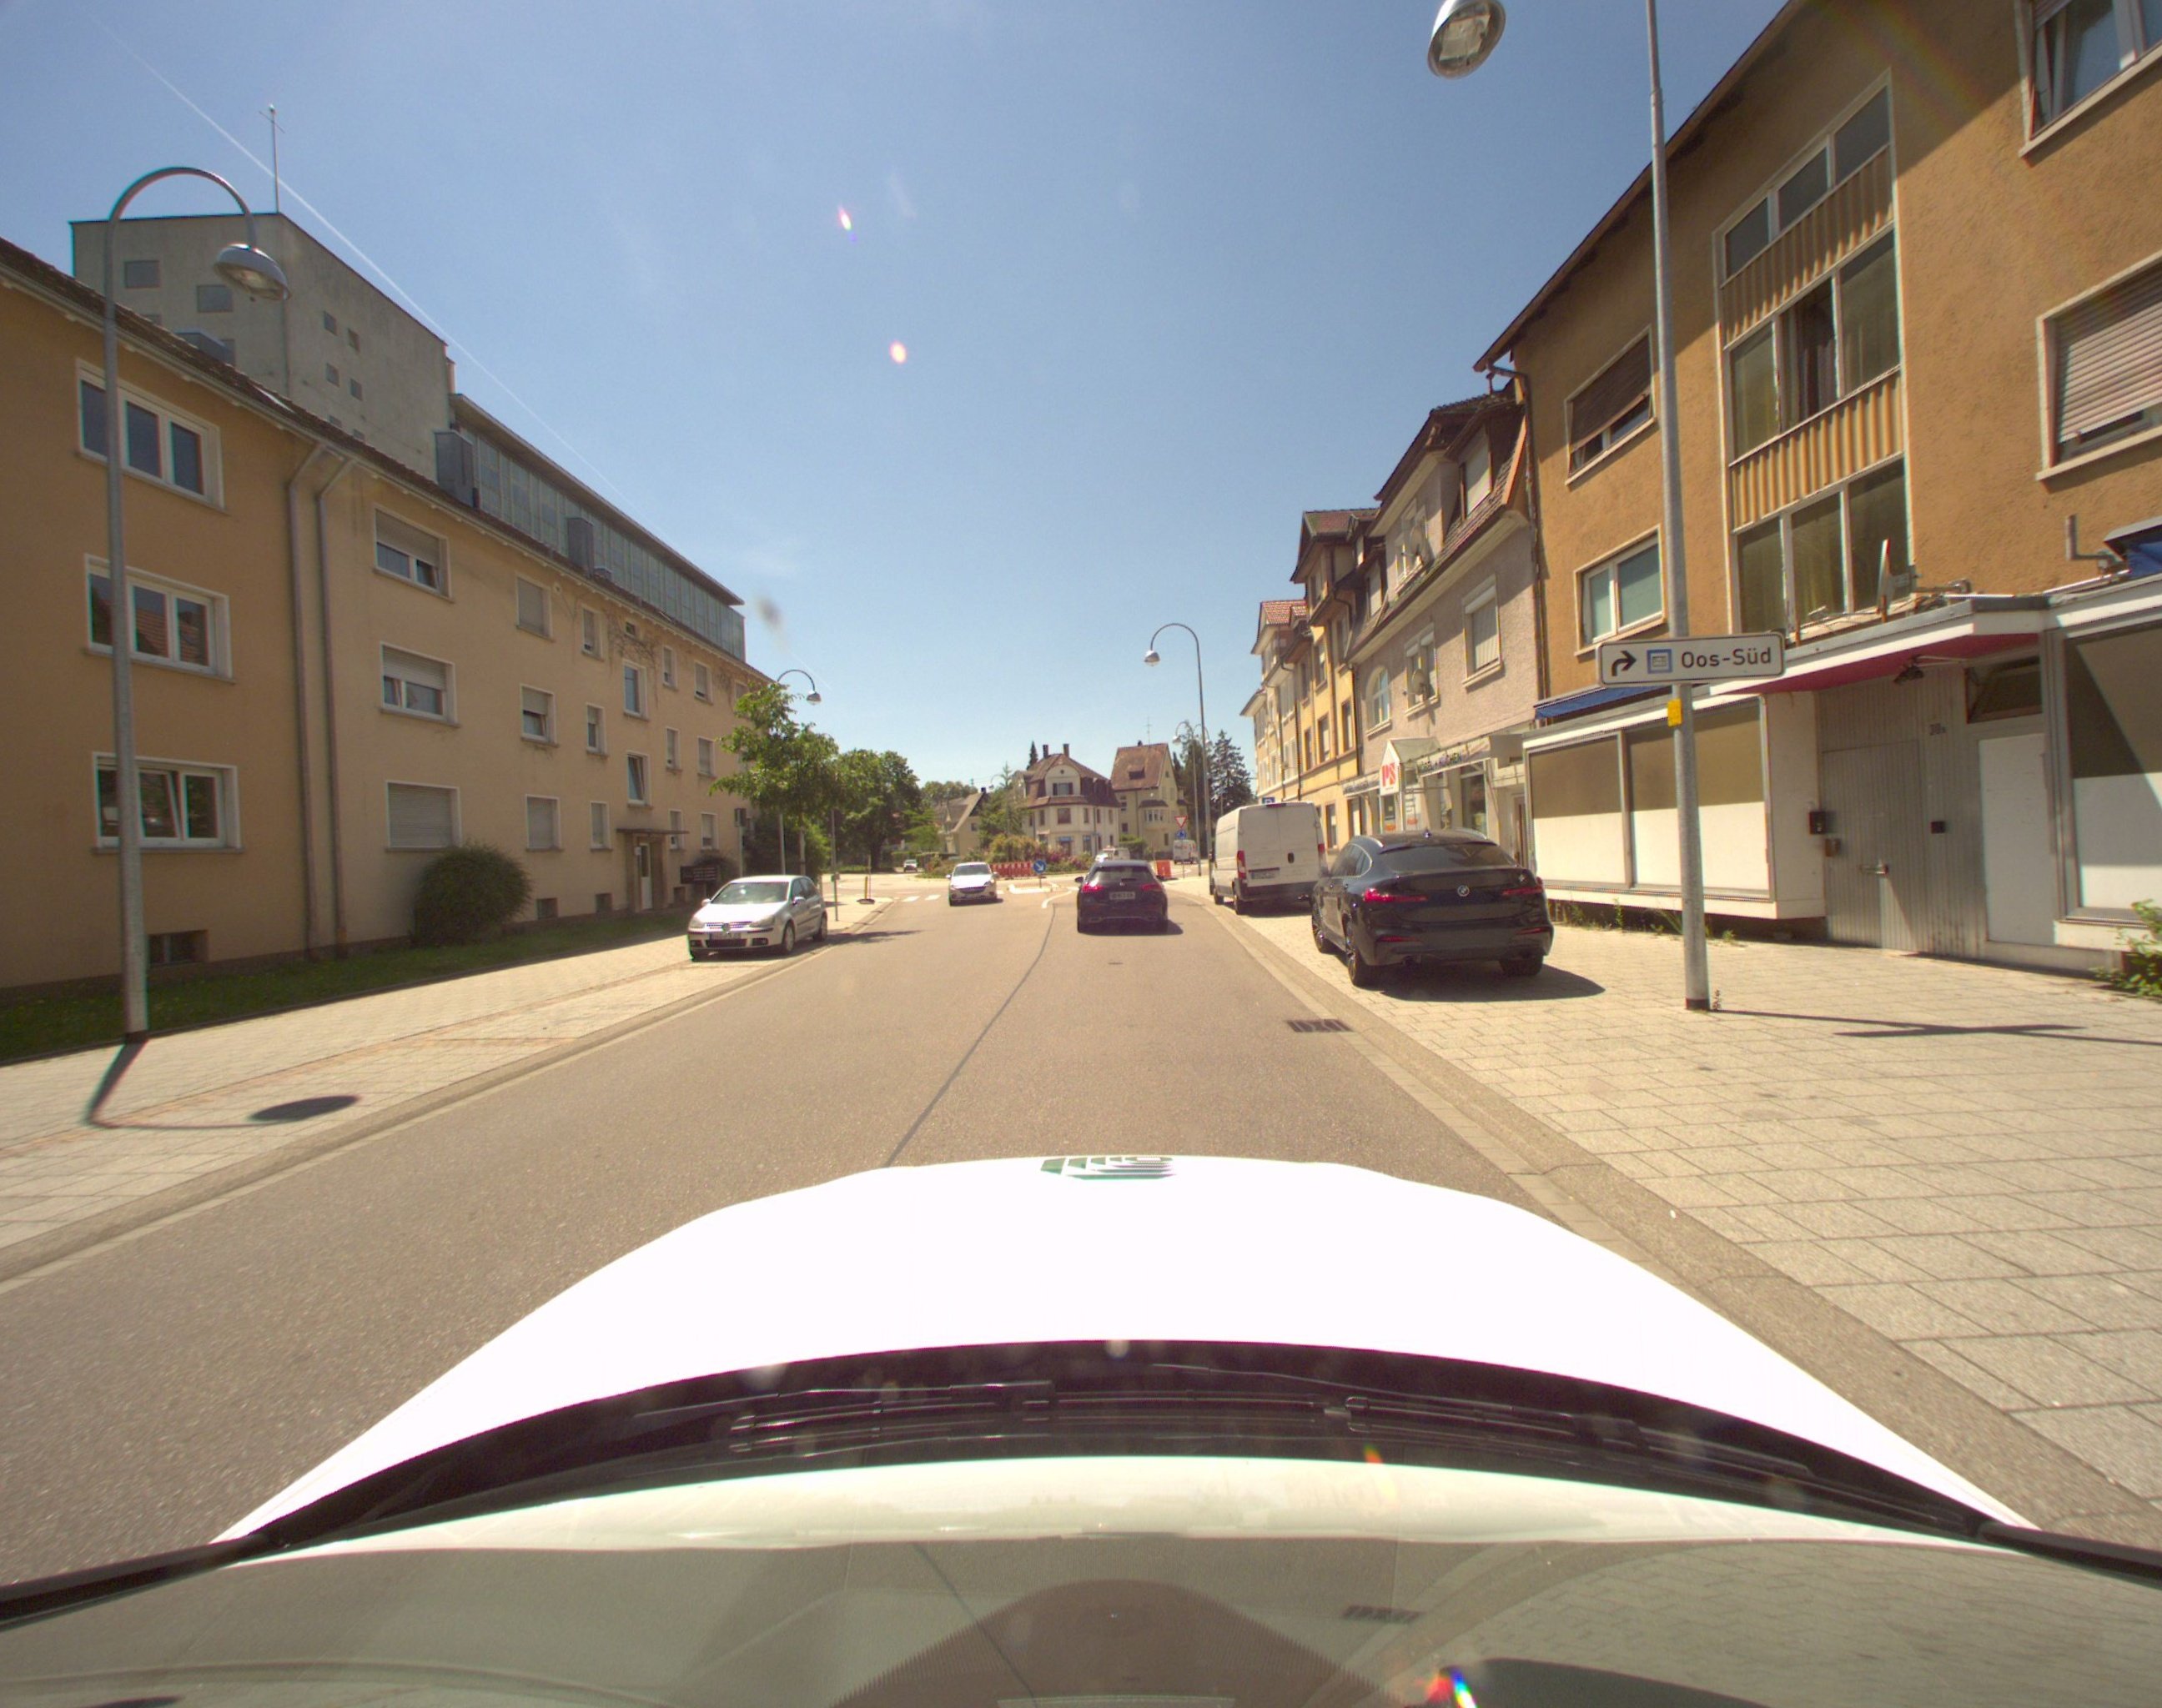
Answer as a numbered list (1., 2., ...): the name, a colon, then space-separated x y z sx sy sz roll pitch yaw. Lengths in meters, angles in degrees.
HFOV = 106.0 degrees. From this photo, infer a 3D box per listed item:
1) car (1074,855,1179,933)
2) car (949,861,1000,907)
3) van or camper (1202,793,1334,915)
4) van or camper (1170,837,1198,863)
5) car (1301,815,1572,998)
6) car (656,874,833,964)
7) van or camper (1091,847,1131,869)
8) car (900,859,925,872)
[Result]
1. car: 0.894 0.780 17.341 1.946 1.427 4.000 -1 -1 1
2. car: -3.848 1.040 29.825 1.658 1.496 3.751 -3 0 -6
3. van or camper: 4.610 0.012 21.087 2.156 2.588 5.769 -4 0 2
4. van or camper: 11.152 -0.445 88.079 2.188 2.610 4.019 -2 0 19
5. car: 3.903 0.506 9.825 1.884 1.607 4.376 -4 -1 9
6. car: -6.401 1.163 16.055 1.990 1.420 4.082 -2 -1 -4
7. van or camper: 3.108 0.392 84.359 1.975 2.172 5.445 -1 -1 27
8. car: -21.702 1.520 104.929 1.773 1.597 3.932 -2 -3 11
